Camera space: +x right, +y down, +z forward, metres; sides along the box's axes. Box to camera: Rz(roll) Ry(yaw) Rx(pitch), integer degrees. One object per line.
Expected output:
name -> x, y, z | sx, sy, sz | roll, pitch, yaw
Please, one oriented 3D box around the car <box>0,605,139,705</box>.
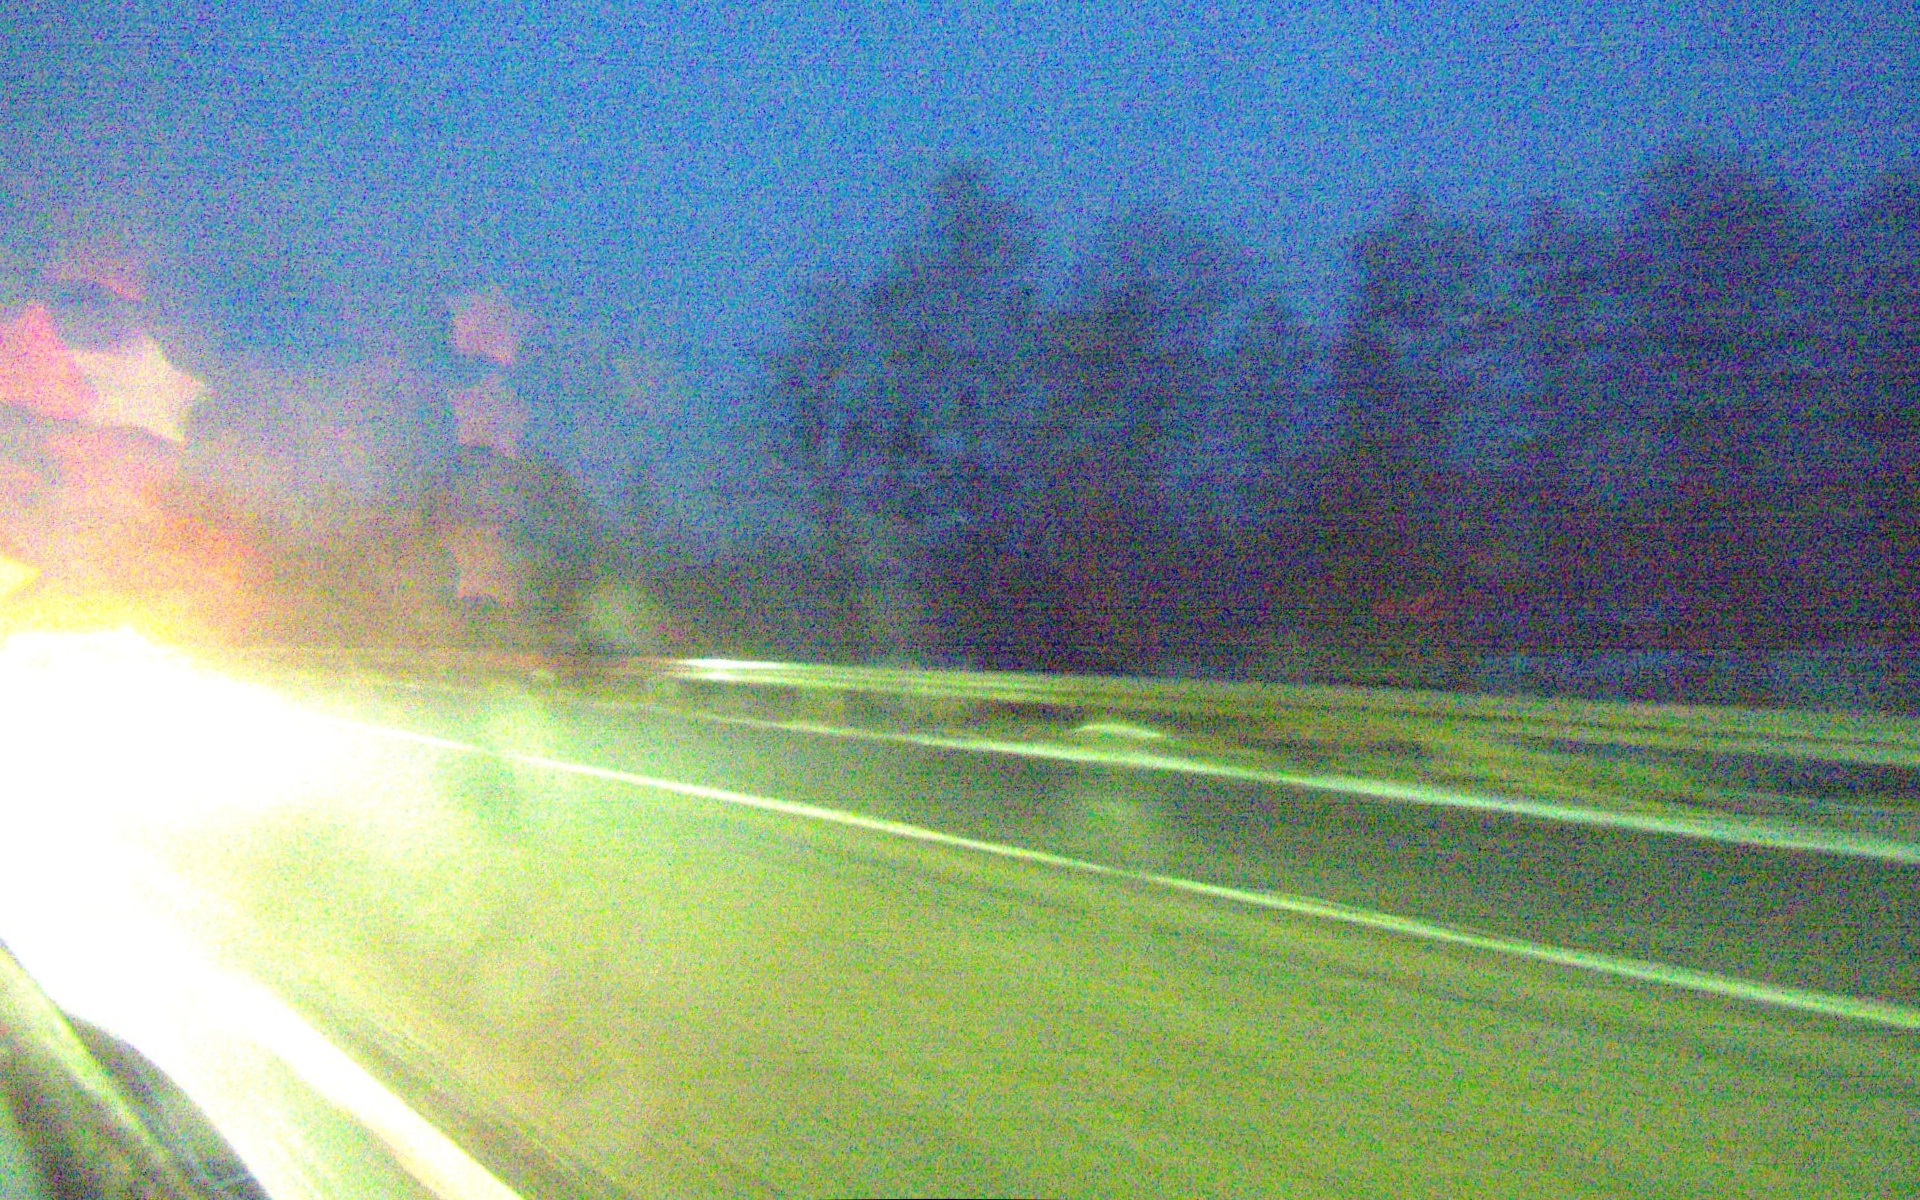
car -> -16.866, 0.975, 18.802 | 4.141, 1.650, 1.840 | -2, -2, 41
